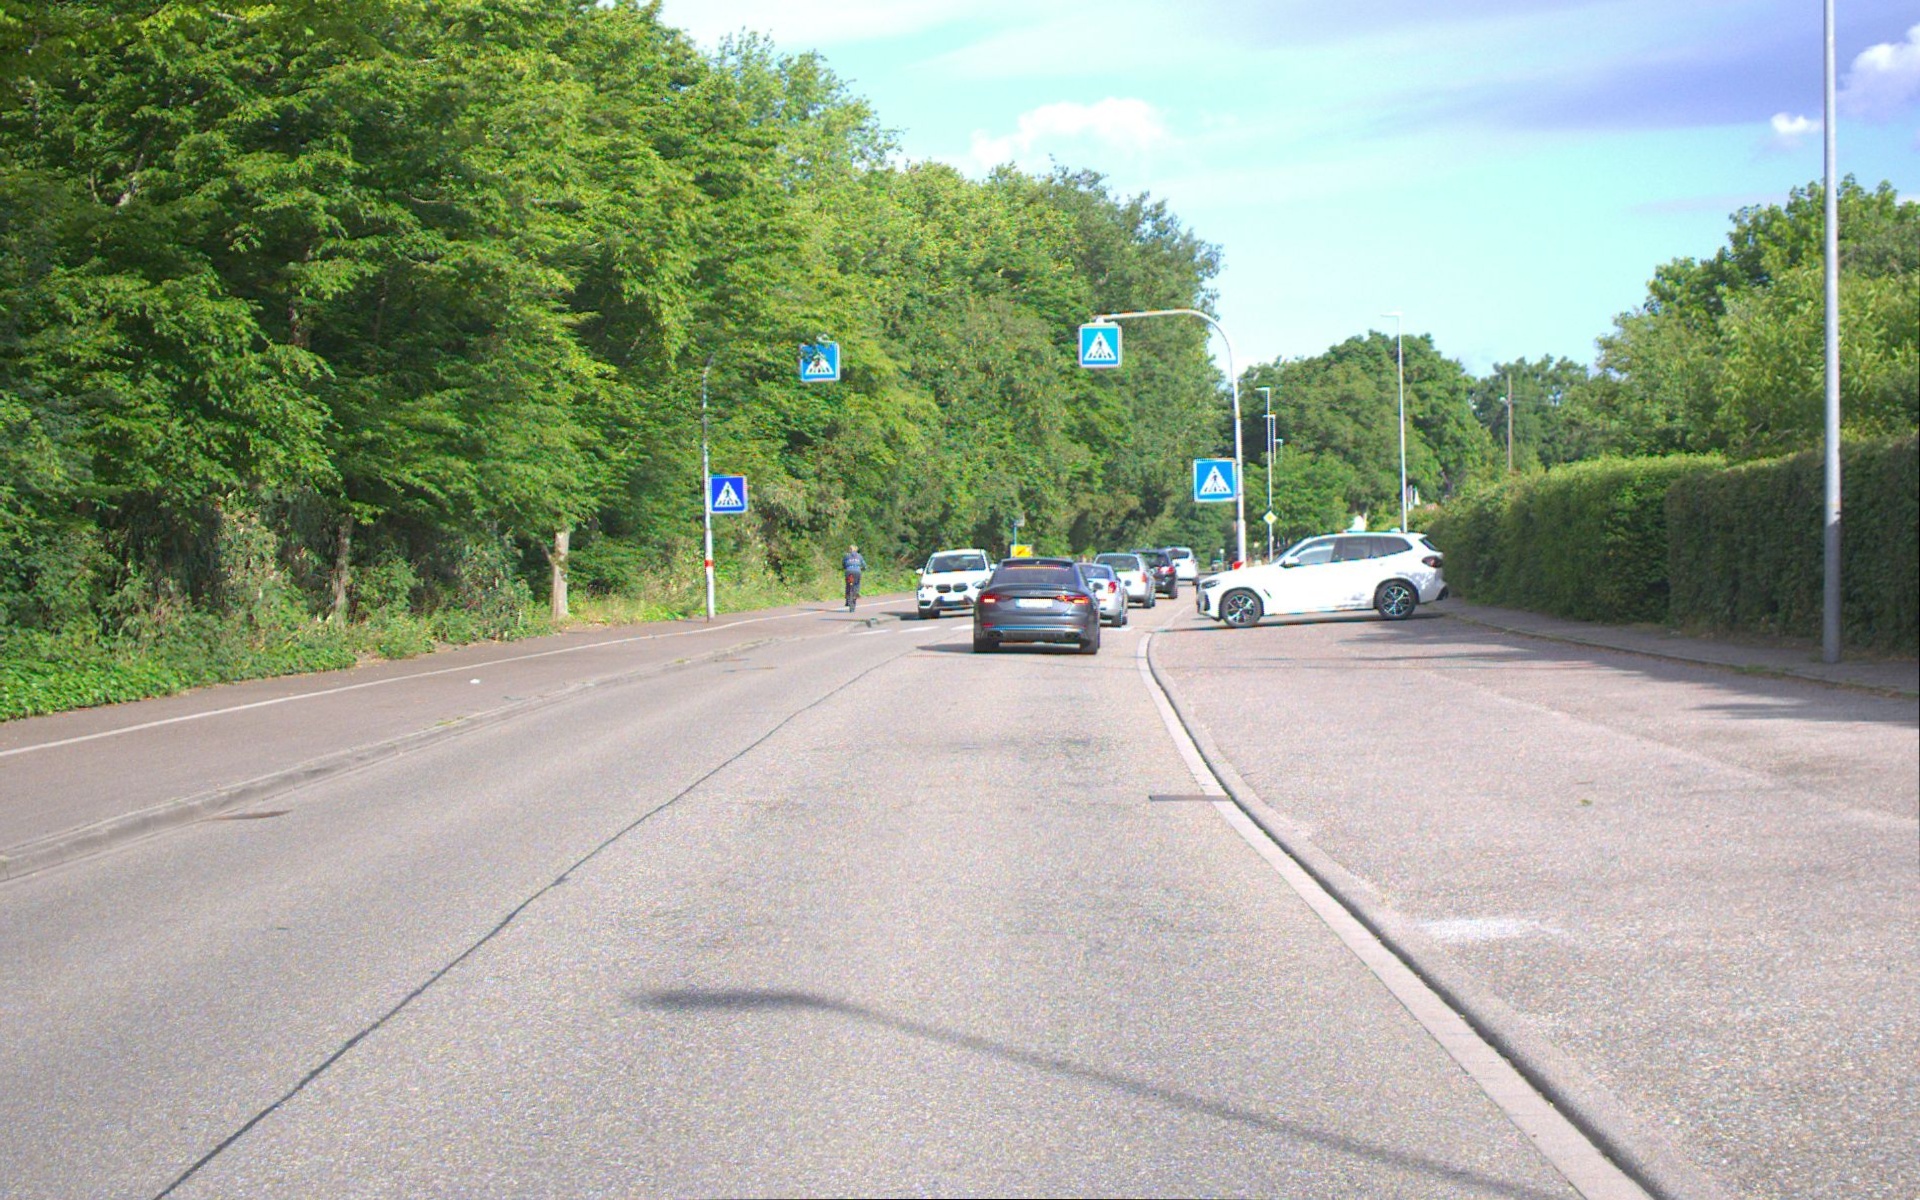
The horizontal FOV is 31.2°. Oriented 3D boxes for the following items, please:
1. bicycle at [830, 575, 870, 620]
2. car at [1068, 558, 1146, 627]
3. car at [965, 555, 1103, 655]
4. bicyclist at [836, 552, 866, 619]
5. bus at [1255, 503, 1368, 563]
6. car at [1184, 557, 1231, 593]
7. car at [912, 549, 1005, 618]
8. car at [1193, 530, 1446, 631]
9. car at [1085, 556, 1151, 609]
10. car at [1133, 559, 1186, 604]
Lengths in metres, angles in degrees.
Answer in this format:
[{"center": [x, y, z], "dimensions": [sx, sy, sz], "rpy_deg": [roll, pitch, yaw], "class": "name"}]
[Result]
[{"center": [-2.776, -0.075, 86.954], "dimensions": [0.662, 1.093, 2.348], "rpy_deg": [1, 1, 6], "class": "bicycle"}, {"center": [3.054, -0.174, 71.032], "dimensions": [1.495, 1.361, 3.262], "rpy_deg": [-1, 1, 4], "class": "car"}, {"center": [1.098, 0.052, 51.361], "dimensions": [1.966, 1.429, 4.336], "rpy_deg": [0, 1, 1], "class": "car"}, {"center": [-2.751, -0.366, 86.914], "dimensions": [0.609, 1.671, 0.883], "rpy_deg": [1, 0, 6], "class": "bicyclist"}, {"center": [17.315, -3.315, 169.595], "dimensions": [5.365, 2.737, 2.068], "rpy_deg": [-2, 1, 3], "class": "bus"}, {"center": [9.575, -0.976, 132.978], "dimensions": [1.496, 1.361, 3.261], "rpy_deg": [-1, 1, 10], "class": "car"}, {"center": [0.000, -0.400, 83.458], "dimensions": [1.802, 1.580, 4.101], "rpy_deg": [-2, 0, 6], "class": "car"}, {"center": [6.715, -0.362, 64.326], "dimensions": [4.589, 1.694, 1.763], "rpy_deg": [-2, 0, 6], "class": "car"}, {"center": [4.091, -0.459, 88.643], "dimensions": [1.495, 1.300, 3.261], "rpy_deg": [-1, 1, 6], "class": "car"}, {"center": [6.249, -0.601, 107.540], "dimensions": [1.495, 1.361, 3.261], "rpy_deg": [-1, 1, 6], "class": "car"}]
